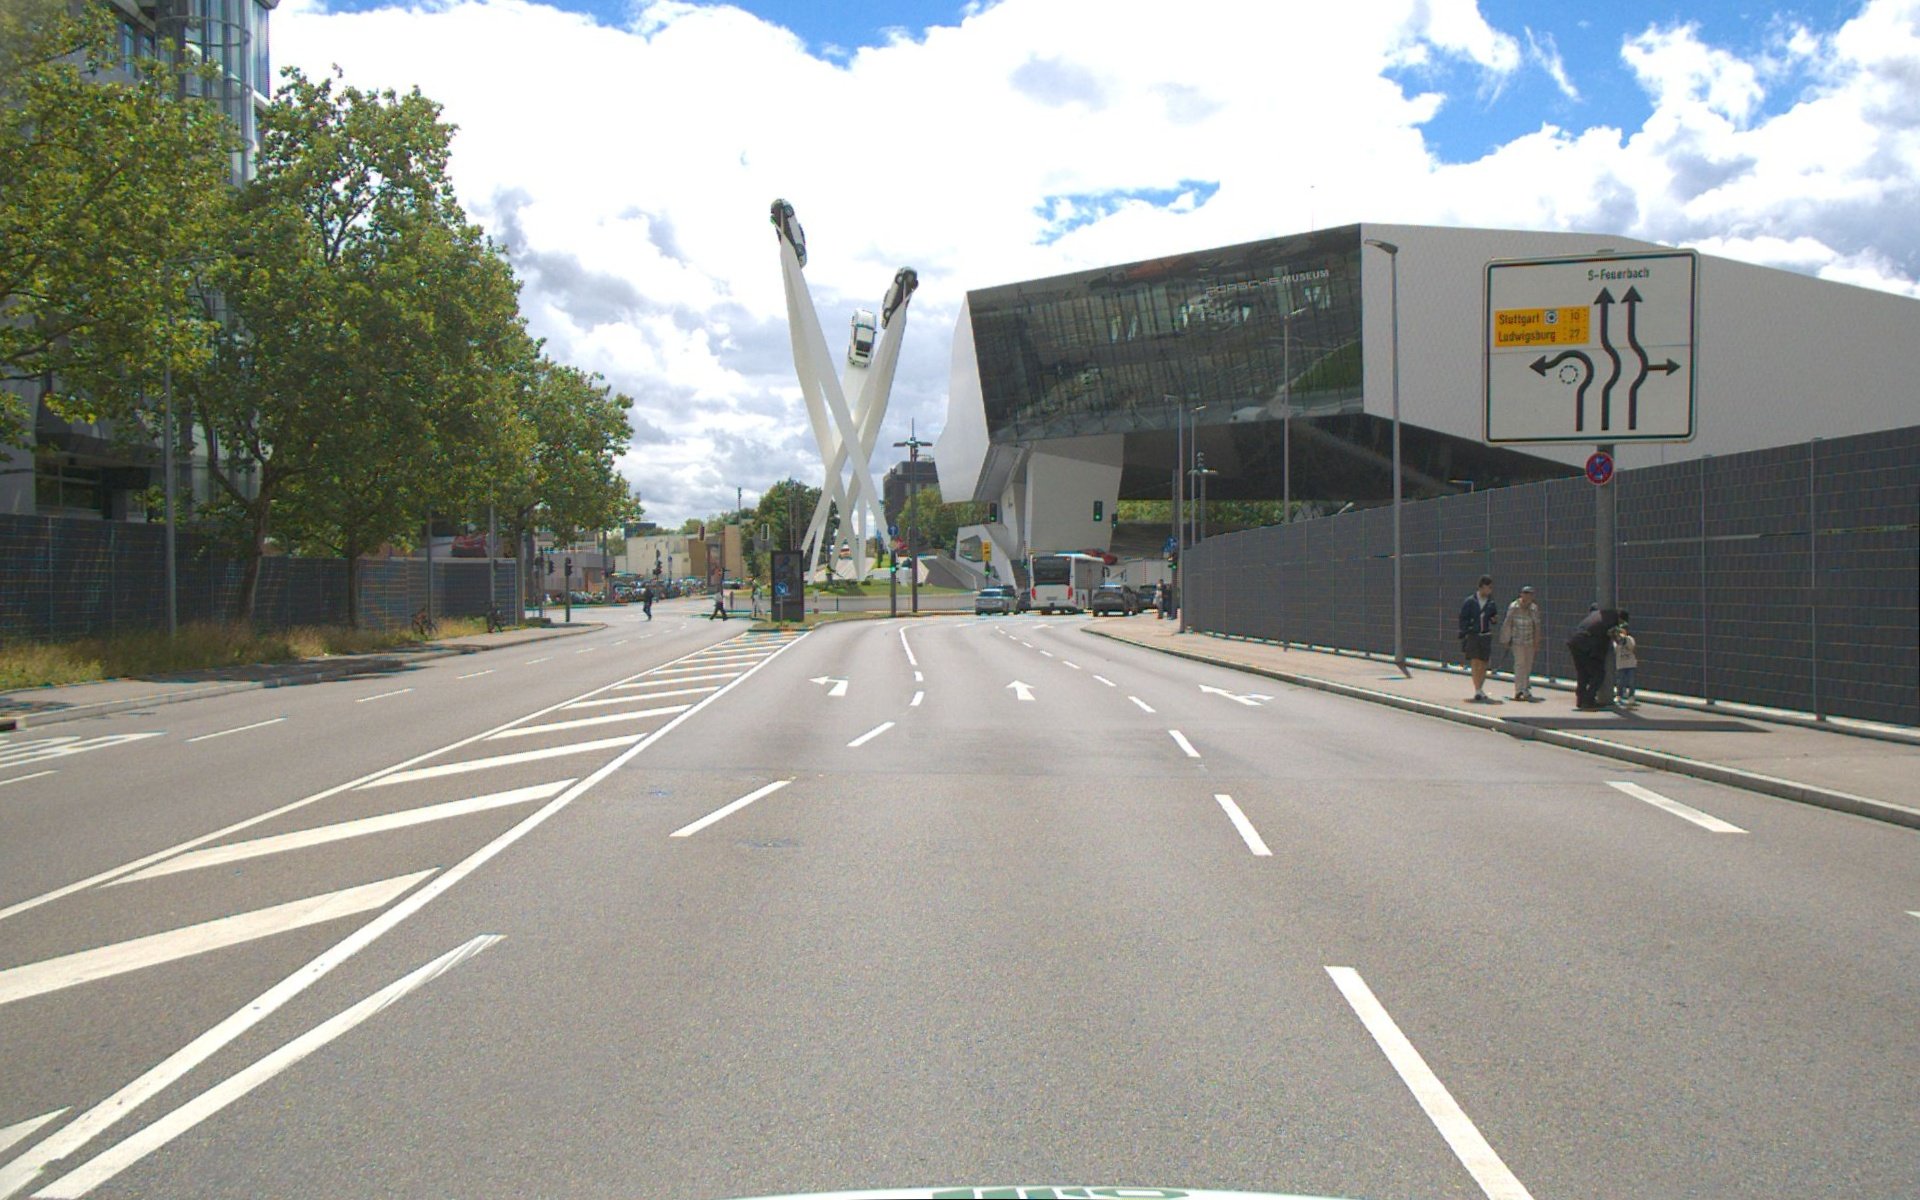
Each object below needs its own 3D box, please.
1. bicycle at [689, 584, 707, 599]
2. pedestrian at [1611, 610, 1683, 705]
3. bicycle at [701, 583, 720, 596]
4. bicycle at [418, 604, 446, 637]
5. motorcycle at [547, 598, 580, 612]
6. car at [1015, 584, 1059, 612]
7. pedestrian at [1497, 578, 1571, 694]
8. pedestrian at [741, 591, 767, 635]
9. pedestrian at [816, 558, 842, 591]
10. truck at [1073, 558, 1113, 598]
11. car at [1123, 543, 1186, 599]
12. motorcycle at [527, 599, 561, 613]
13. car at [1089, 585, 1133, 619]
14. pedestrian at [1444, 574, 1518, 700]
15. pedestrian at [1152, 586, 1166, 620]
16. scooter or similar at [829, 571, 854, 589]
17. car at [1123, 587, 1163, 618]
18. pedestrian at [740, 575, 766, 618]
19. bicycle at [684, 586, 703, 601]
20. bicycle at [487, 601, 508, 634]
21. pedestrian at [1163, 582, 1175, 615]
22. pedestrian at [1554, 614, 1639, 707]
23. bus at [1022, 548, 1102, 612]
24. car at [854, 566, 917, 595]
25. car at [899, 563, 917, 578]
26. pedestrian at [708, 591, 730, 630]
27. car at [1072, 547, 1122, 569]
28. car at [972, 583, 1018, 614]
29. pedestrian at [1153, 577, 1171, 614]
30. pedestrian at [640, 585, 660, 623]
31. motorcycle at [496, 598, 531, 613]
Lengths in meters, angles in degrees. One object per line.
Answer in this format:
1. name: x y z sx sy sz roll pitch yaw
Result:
1. bicycle: -23.964 -0.776 151.066 1.574 1.407 0.492 1 -1 -4
2. pedestrian: 9.079 0.753 21.871 0.699 1.228 0.599 1 -1 1
3. bicycle: -23.915 -1.019 158.628 1.703 1.202 0.669 1 1 -4
4. bicycle: -16.663 0.659 52.211 0.290 1.023 1.253 1 -1 8
5. motorcycle: -35.916 0.493 149.761 2.842 1.217 0.921 1 -1 16
6. car: 4.936 -0.111 105.660 1.951 1.665 4.002 1 0 16
7. pedestrian: 8.194 0.506 23.631 0.779 1.625 0.731 1 -1 -3
8. pedestrian: -9.982 0.619 80.129 0.932 2.091 0.951 1 -1 16
9. pedestrian: -7.917 -1.541 99.953 1.254 1.847 0.988 -3 4 6
10. truck: 9.150 -1.485 113.184 2.160 2.560 5.137 1 0 11
11. car: 13.386 -1.947 114.583 3.267 3.565 9.342 1 0 1
12. motorcycle: -37.056 0.560 147.468 2.842 1.217 0.921 1 -1 16
13. car: 7.880 0.102 86.233 1.951 1.665 4.003 1 0 10
14. pedestrian: 7.405 0.521 23.529 0.779 1.751 0.731 1 -1 -3
15. pedestrian: 9.719 0.157 80.897 0.645 1.636 0.823 1 -1 8
16. scooter or similar: -7.174 -1.212 99.916 1.370 1.043 0.551 -1 6 12
17. car: 10.242 0.132 92.396 1.951 1.665 4.003 1 0 10
18. pedestrian: -10.182 -0.161 81.340 0.932 2.091 0.951 1 -1 16
19. bicycle: -24.089 -0.624 149.569 1.574 1.339 0.492 1 -1 -4
20. bicycle: -16.395 0.613 58.660 0.290 1.151 1.485 1 -1 1
21. pedestrian: 10.600 -0.086 83.905 0.454 1.644 0.663 1 -1 -2
22. pedestrian: 8.320 0.779 21.650 0.742 1.169 0.971 1 -1 0
23. bus: 6.058 -1.023 95.961 3.006 3.421 12.233 1 0 11
24. car: -5.860 -1.507 129.641 4.553 2.209 1.996 1 -1 30
25. car: -6.098 -3.523 194.303 1.953 1.664 4.655 1 2 -1
26. pedestrian: -11.471 0.492 78.702 0.849 1.805 1.031 1 -1 -16
27. car: 12.865 -3.960 155.338 4.440 1.418 1.987 10 11 44
28. car: 1.946 -0.069 91.459 1.951 1.665 4.003 1 0 10
29. pedestrian: 10.322 -0.227 84.455 0.649 1.899 0.790 1 -1 -17
30. pedestrian: -15.286 0.198 81.522 0.849 1.805 1.031 1 -1 -16
31. motorcycle: -38.748 0.501 143.466 2.842 1.217 0.921 1 -1 16
